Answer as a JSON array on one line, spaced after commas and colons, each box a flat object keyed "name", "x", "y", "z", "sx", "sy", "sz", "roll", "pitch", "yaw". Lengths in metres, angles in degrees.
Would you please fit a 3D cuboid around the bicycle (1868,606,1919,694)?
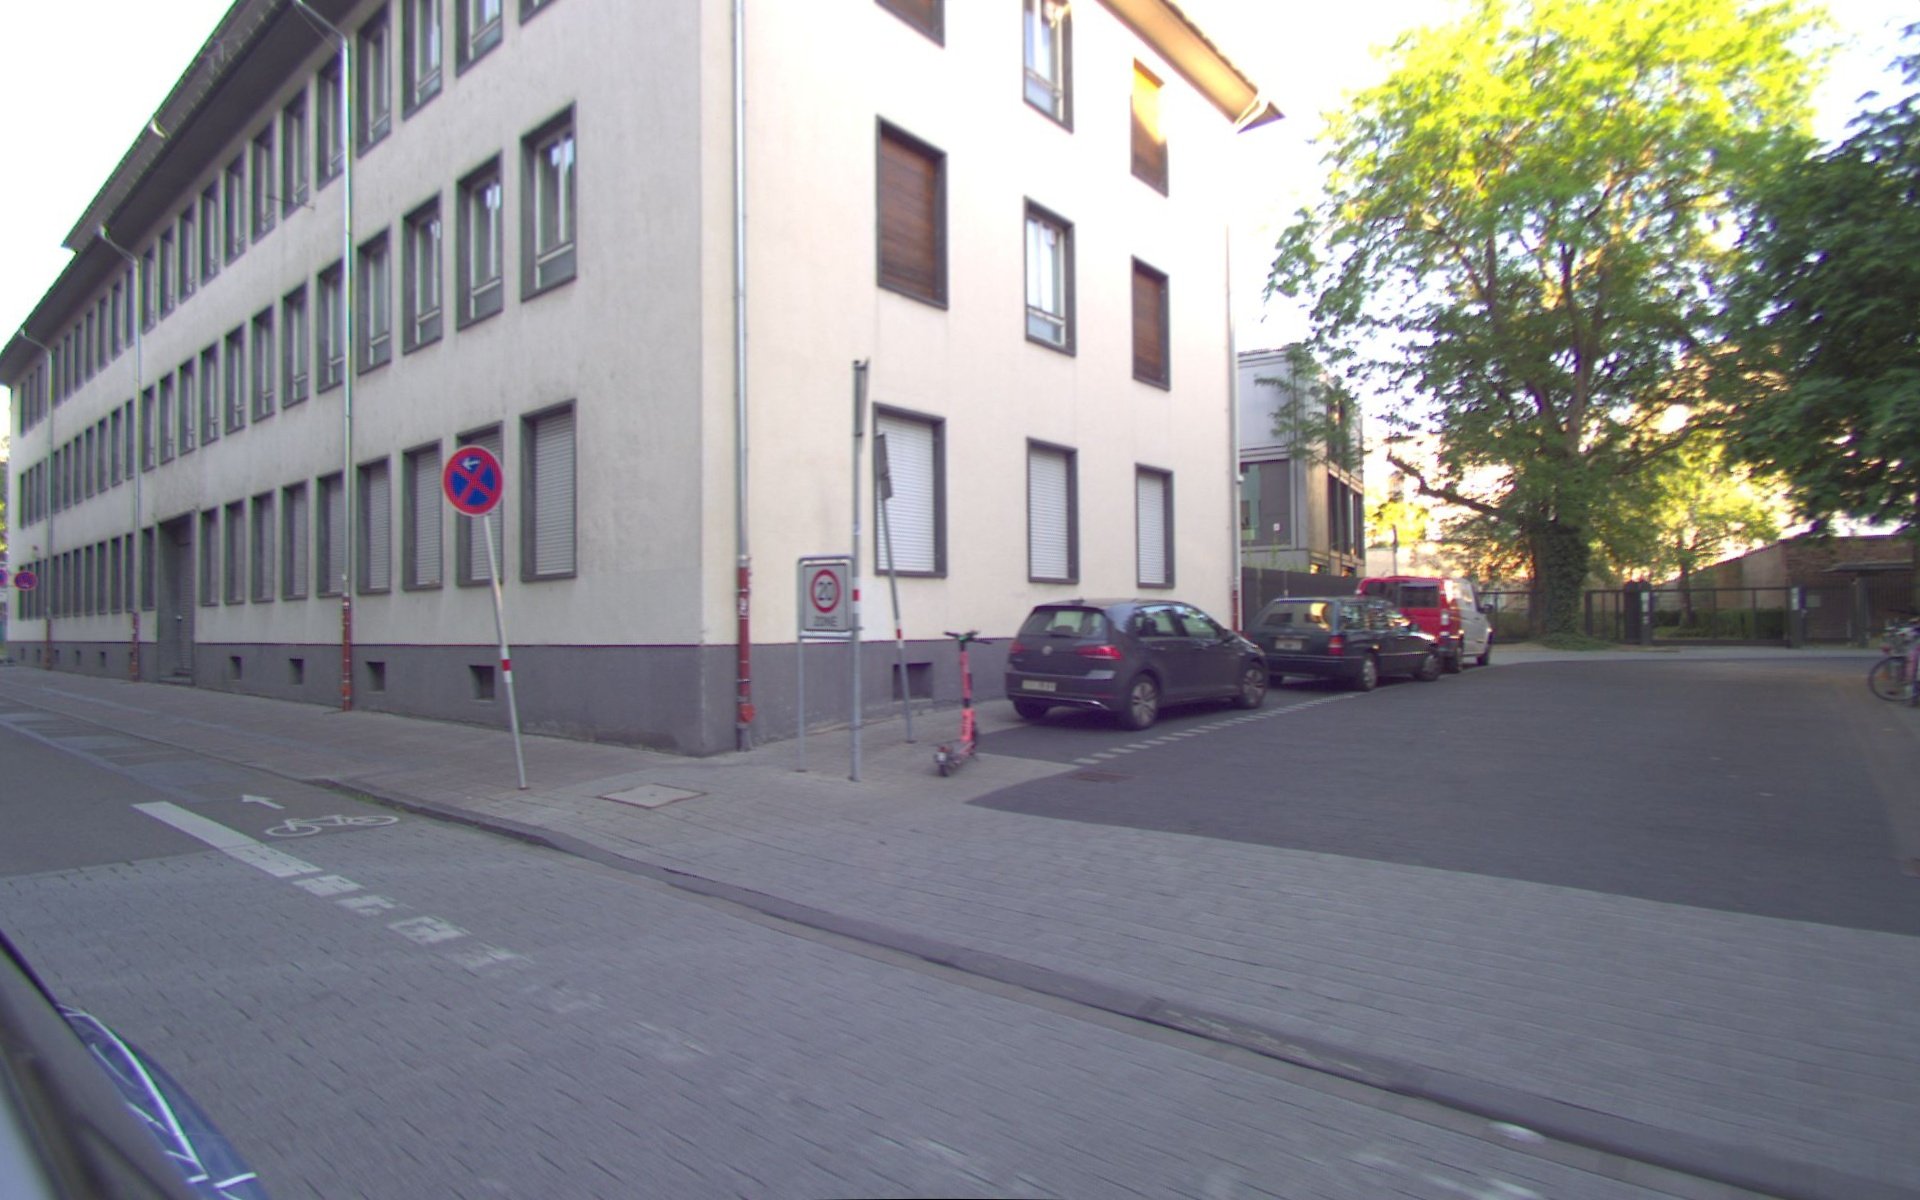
[{"name": "bicycle", "x": 13.514, "y": 0.681, "z": 14.410, "sx": 0.626, "sy": 1.164, "sz": 1.909, "roll": -2, "pitch": -1, "yaw": 35}]

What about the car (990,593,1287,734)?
[{"name": "car", "x": 2.323, "y": 0.668, "z": 12.491, "sx": 1.728, "sy": 1.451, "sz": 3.914, "roll": -2, "pitch": -1, "yaw": 43}]

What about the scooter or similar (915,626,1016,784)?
[{"name": "scooter or similar", "x": 0.080, "y": 0.884, "z": 9.004, "sx": 0.528, "sy": 1.209, "sz": 1.359, "roll": -1, "pitch": 2, "yaw": 16}]

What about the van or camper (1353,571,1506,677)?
[{"name": "van or camper", "x": 9.763, "y": 0.413, "z": 20.841, "sx": 1.933, "sy": 1.923, "sz": 4.651, "roll": 1, "pitch": 1, "yaw": 37}]

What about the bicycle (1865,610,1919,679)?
[{"name": "bicycle", "x": 16.846, "y": 0.773, "z": 18.181, "sx": 0.626, "sy": 1.164, "sz": 1.909, "roll": -2, "pitch": -1, "yaw": 36}]

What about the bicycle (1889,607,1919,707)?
[{"name": "bicycle", "x": 12.116, "y": 0.677, "z": 12.546, "sx": 0.626, "sy": 1.164, "sz": 1.909, "roll": -2, "pitch": -1, "yaw": 36}]

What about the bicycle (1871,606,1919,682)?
[{"name": "bicycle", "x": 15.217, "y": 0.680, "z": 16.254, "sx": 0.626, "sy": 1.164, "sz": 1.909, "roll": -2, "pitch": -1, "yaw": 36}]

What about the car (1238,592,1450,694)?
[{"name": "car", "x": 6.375, "y": 0.600, "z": 16.560, "sx": 1.729, "sy": 1.451, "sz": 4.206, "roll": 1, "pitch": 1, "yaw": 44}]
